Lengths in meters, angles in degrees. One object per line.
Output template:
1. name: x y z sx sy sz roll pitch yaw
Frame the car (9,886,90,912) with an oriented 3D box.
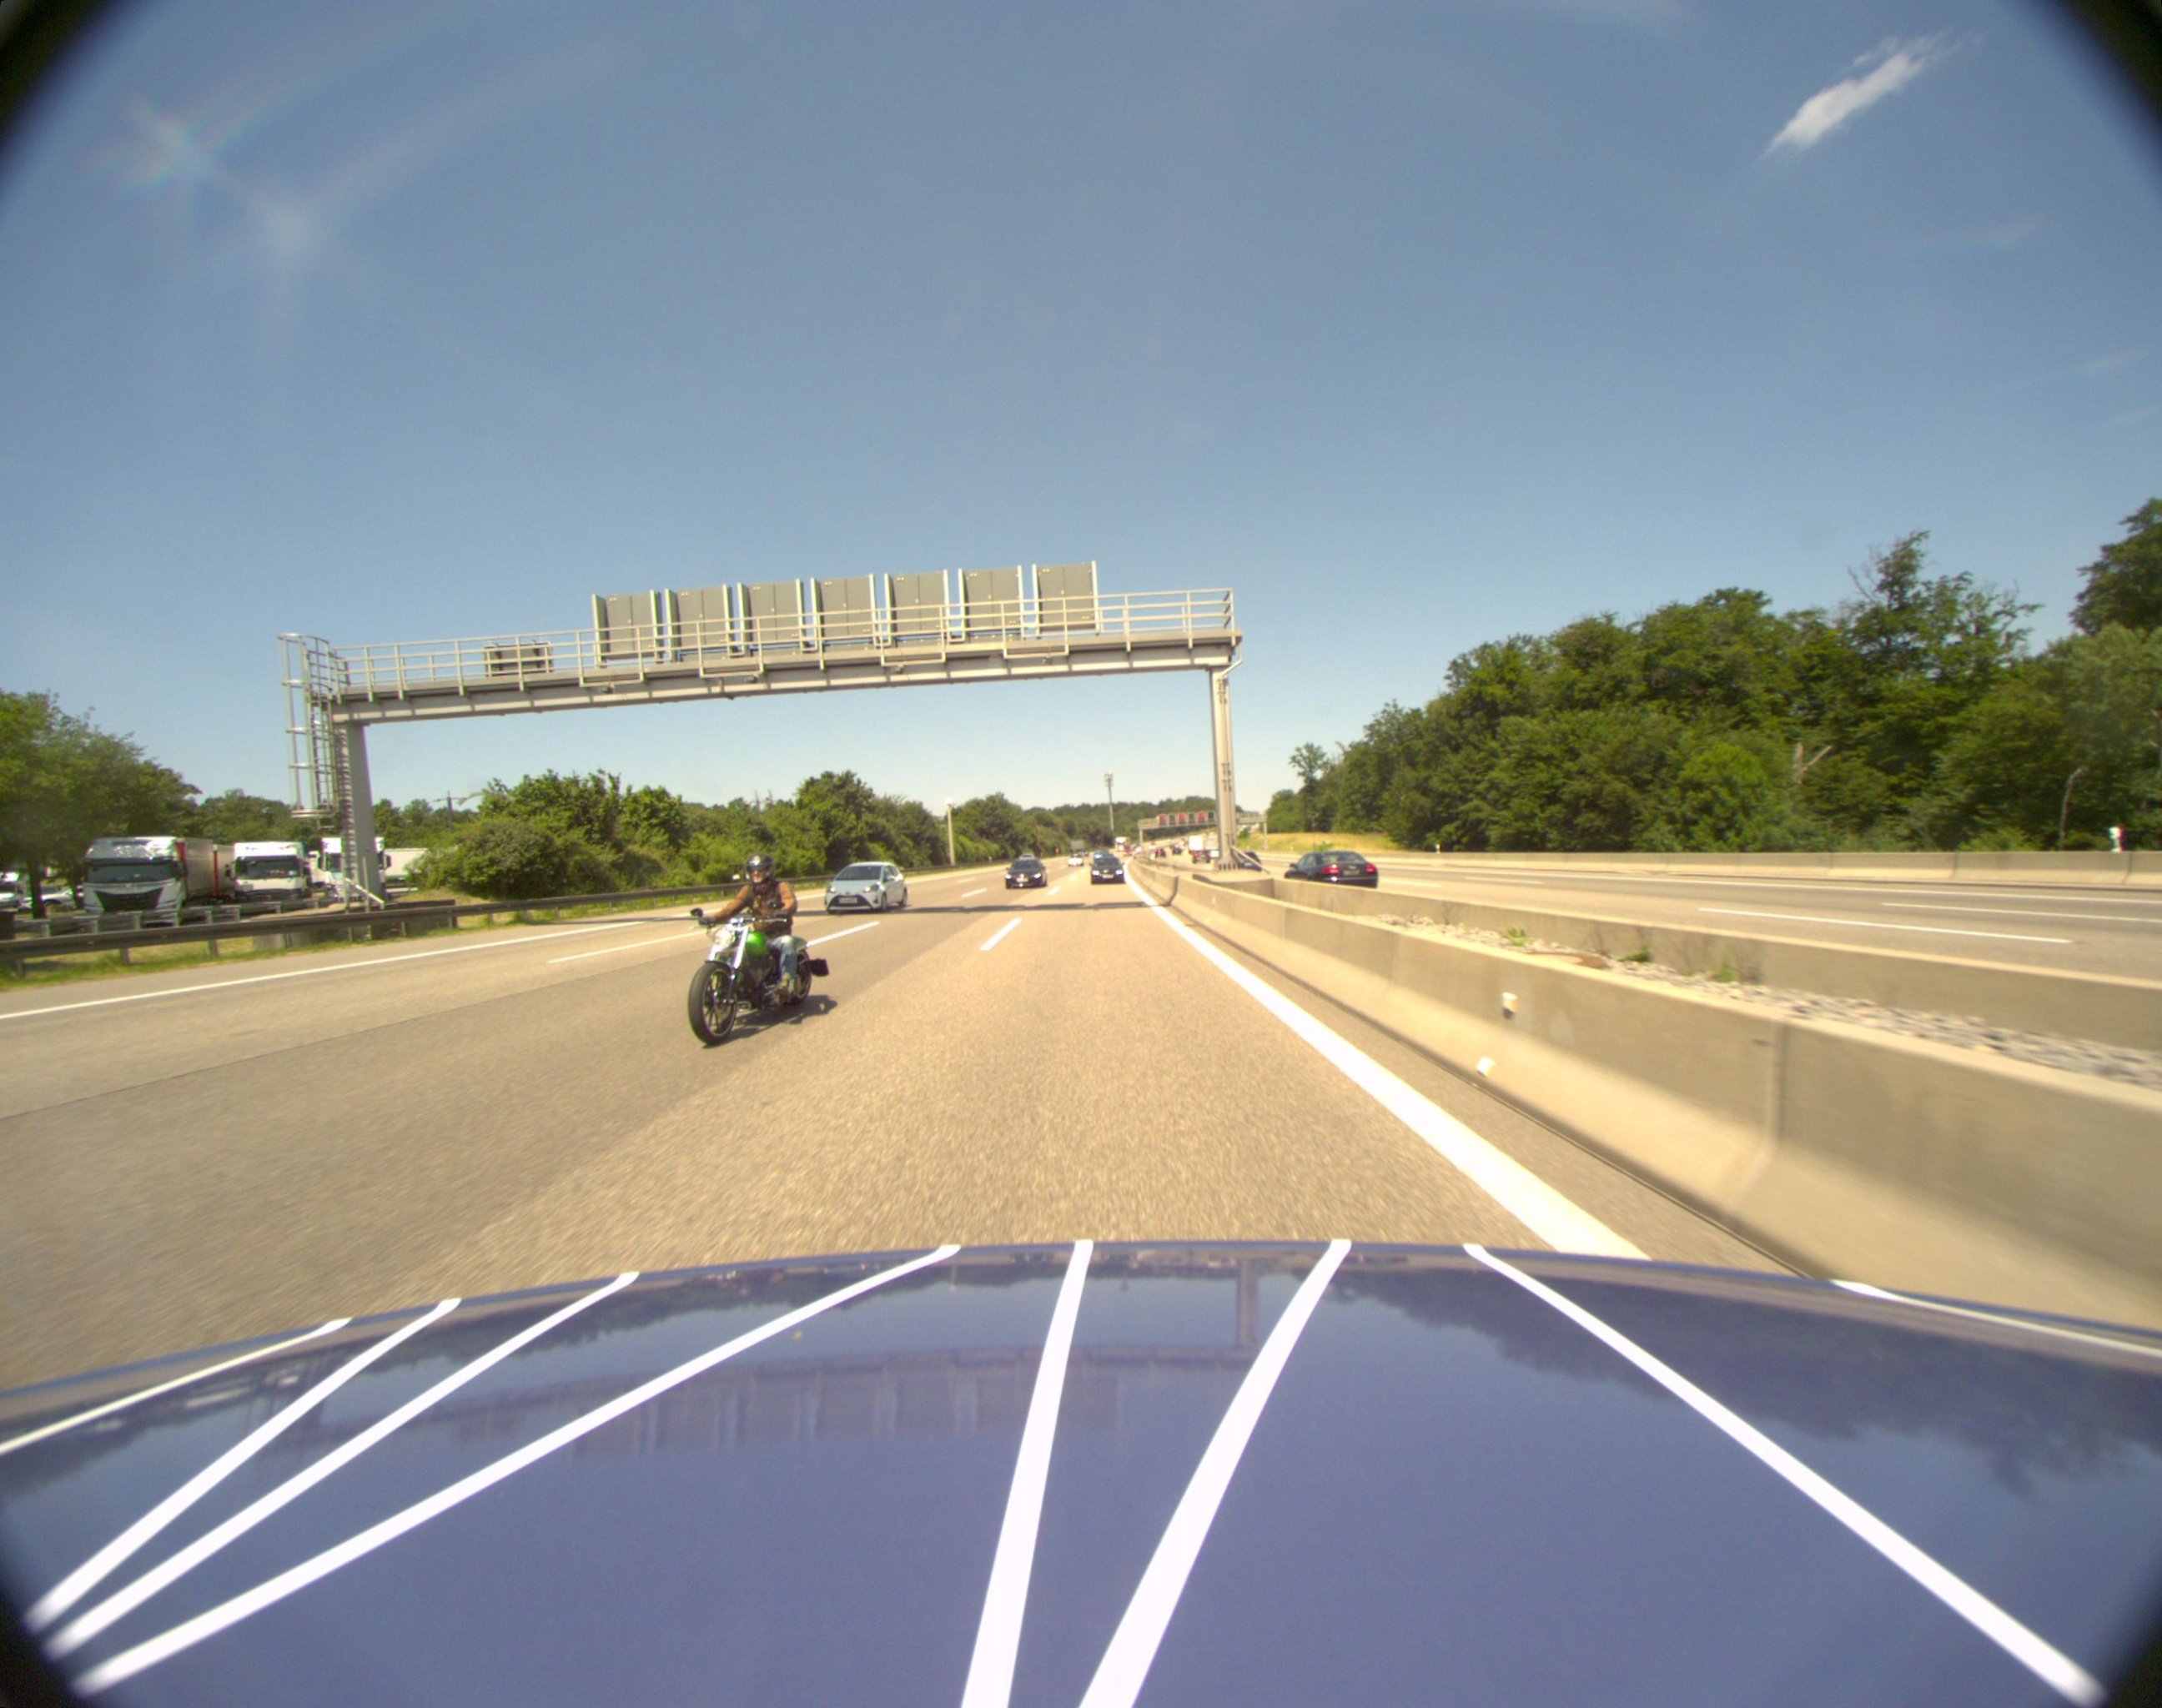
1. car: -73.680 3.180 54.313 1.559 1.529 3.199 -2 2 32

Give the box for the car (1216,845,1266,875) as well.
1. car: 8.742 0.288 41.864 1.858 1.510 4.521 -2 1 1

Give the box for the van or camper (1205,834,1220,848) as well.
1. van or camper: 31.067 -3.181 180.144 2.770 3.108 8.094 -3 2 5

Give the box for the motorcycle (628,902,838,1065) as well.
1. motorcycle: -3.203 1.122 7.342 0.536 1.129 2.438 -1 1 9

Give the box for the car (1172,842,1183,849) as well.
1. car: 23.700 -2.123 187.033 2.292 1.718 5.030 -2 1 2

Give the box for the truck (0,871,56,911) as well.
1. truck: -88.187 3.033 63.305 2.003 2.978 6.362 -5 3 -43

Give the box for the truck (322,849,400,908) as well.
1. truck: -43.227 1.371 45.831 2.458 3.107 9.003 -5 3 -39

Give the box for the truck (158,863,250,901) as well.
1. truck: -69.633 2.171 60.436 4.451 2.630 2.111 -5 3 -43

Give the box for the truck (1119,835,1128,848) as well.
1. truck: 12.808 -3.829 229.581 2.435 3.458 7.020 -3 2 2

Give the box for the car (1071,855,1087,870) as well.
1. car: -0.234 1.006 91.437 1.729 1.521 3.741 -4 1 2

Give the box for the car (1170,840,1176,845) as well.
1. car: 29.808 -3.713 245.645 1.997 1.581 4.845 -2 1 6

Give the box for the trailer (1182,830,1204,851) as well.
1. trailer: 24.188 -2.883 164.875 2.871 4.238 13.957 -2 1 1

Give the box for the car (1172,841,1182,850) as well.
1. car: 19.542 -1.719 154.987 1.765 1.512 4.361 -3 2 3

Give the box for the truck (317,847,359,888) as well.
1. truck: -74.932 1.347 76.711 2.461 3.800 8.789 -5 3 -42

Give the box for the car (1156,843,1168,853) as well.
1. car: 14.209 -0.999 133.528 1.998 1.658 4.435 -2 1 3

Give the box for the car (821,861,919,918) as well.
1. car: -6.514 1.031 23.996 1.754 1.510 4.484 -2 0 1

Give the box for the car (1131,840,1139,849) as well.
1. car: 14.834 -2.614 209.078 2.233 2.372 4.161 -3 2 3

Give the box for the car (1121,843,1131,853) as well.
1. car: 9.964 -1.385 167.849 1.998 2.002 4.001 -3 0 3

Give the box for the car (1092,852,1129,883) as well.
1. car: 1.573 0.690 40.115 1.769 1.495 4.001 -3 0 2

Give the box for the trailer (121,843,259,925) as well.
1. trailer: -46.951 1.409 40.481 2.509 3.594 13.331 -5 3 -41

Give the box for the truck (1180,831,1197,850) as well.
1. truck: 24.216 -3.071 171.347 2.883 4.265 6.452 -2 1 0

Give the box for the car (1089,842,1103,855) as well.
1. car: 2.516 -0.923 126.881 1.998 2.002 3.999 -3 2 3

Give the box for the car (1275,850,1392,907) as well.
1. car: 7.625 0.654 23.537 1.961 1.509 5.133 -2 0 1

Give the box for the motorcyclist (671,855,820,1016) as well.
1. motorcyclist: -3.188 0.736 7.324 0.854 1.419 1.024 -1 1 9

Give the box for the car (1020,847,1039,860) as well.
1. car: -6.797 -0.142 99.968 1.998 1.521 4.000 -2 2 3

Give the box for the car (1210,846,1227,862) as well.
1. car: 19.663 0.007 108.800 1.998 2.002 4.000 -3 2 6

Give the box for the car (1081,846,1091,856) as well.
1. car: 1.191 -0.759 170.991 1.998 2.002 3.999 -3 2 2

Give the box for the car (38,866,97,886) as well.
1. car: -114.520 2.451 85.916 2.002 2.002 3.992 -4 2 -21

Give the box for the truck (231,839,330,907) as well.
1. truck: -45.093 0.983 43.077 2.458 3.410 9.003 -5 3 -39

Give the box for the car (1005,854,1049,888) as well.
1. car: -2.631 0.816 37.951 1.760 1.431 3.999 -2 2 2

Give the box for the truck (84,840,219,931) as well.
1. truck: -41.528 1.296 34.181 2.498 3.591 6.308 -5 3 -40

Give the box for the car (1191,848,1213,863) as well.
1. car: 13.680 0.172 86.153 1.758 1.625 4.639 -2 0 1
